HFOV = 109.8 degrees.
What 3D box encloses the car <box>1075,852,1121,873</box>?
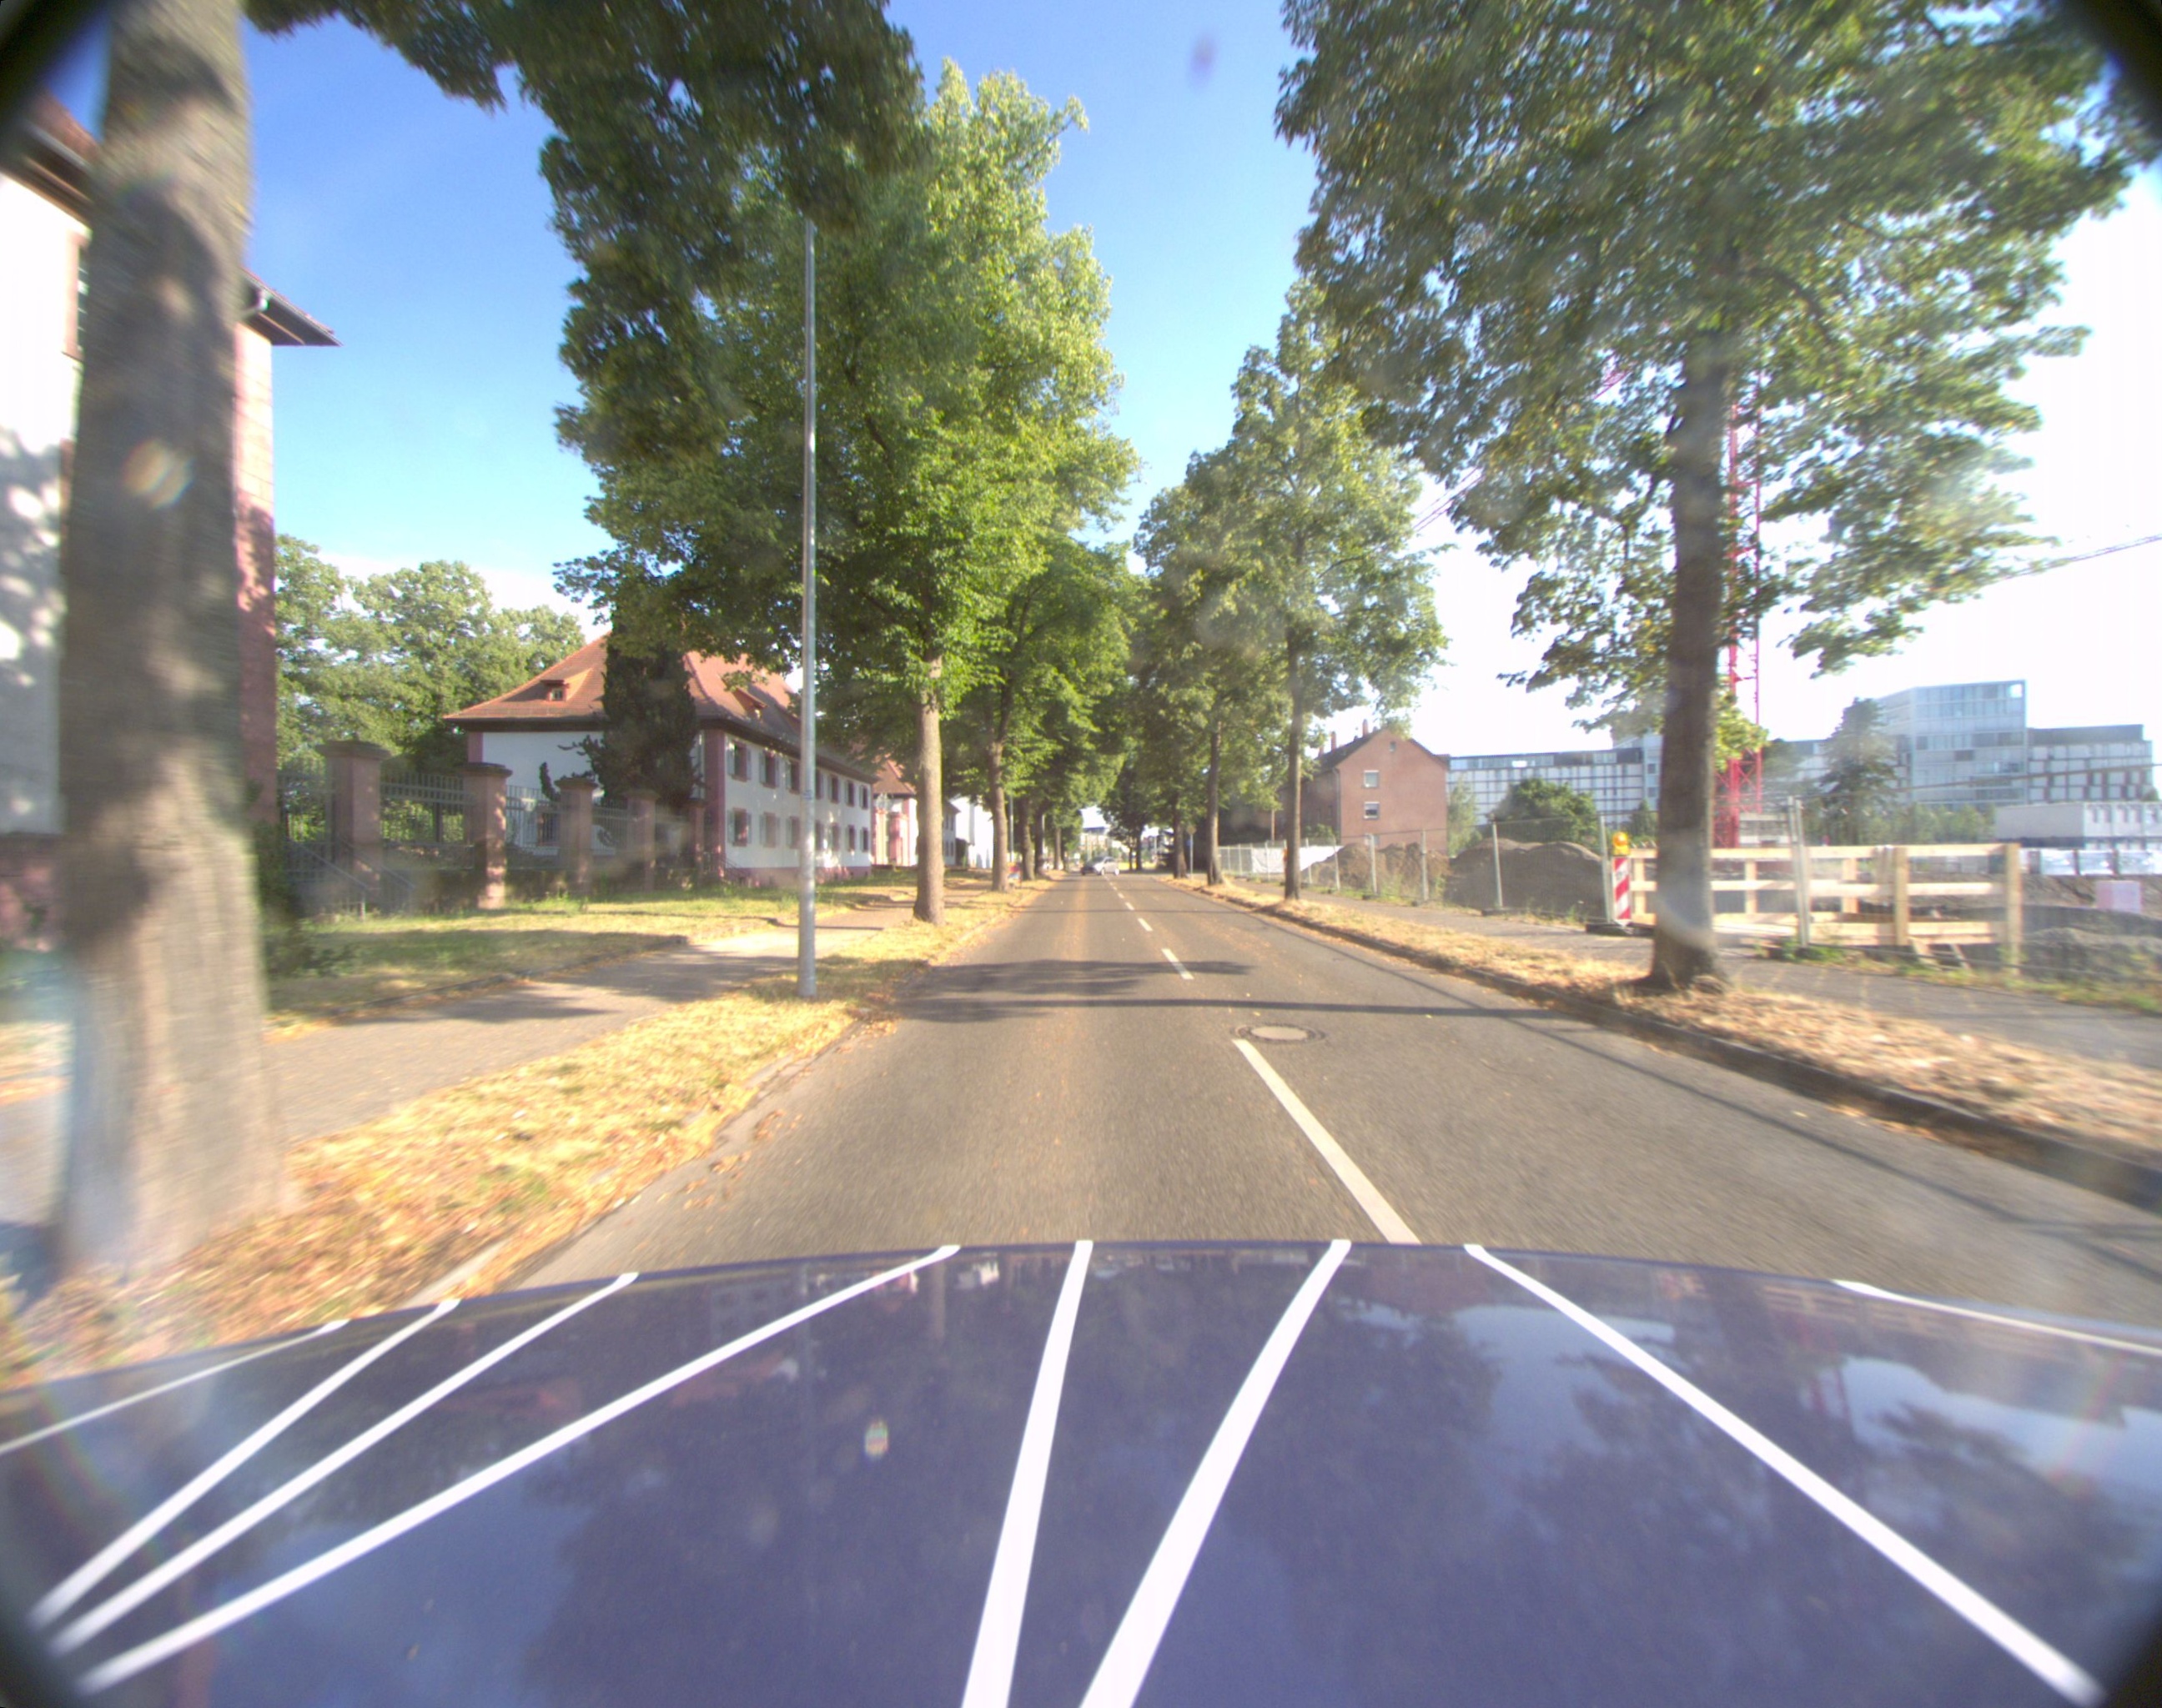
[{"bbox_3d":[1.315,0.657,57.184,1.772,1.492,3.681,-2,0,32],"label":"car"}]
